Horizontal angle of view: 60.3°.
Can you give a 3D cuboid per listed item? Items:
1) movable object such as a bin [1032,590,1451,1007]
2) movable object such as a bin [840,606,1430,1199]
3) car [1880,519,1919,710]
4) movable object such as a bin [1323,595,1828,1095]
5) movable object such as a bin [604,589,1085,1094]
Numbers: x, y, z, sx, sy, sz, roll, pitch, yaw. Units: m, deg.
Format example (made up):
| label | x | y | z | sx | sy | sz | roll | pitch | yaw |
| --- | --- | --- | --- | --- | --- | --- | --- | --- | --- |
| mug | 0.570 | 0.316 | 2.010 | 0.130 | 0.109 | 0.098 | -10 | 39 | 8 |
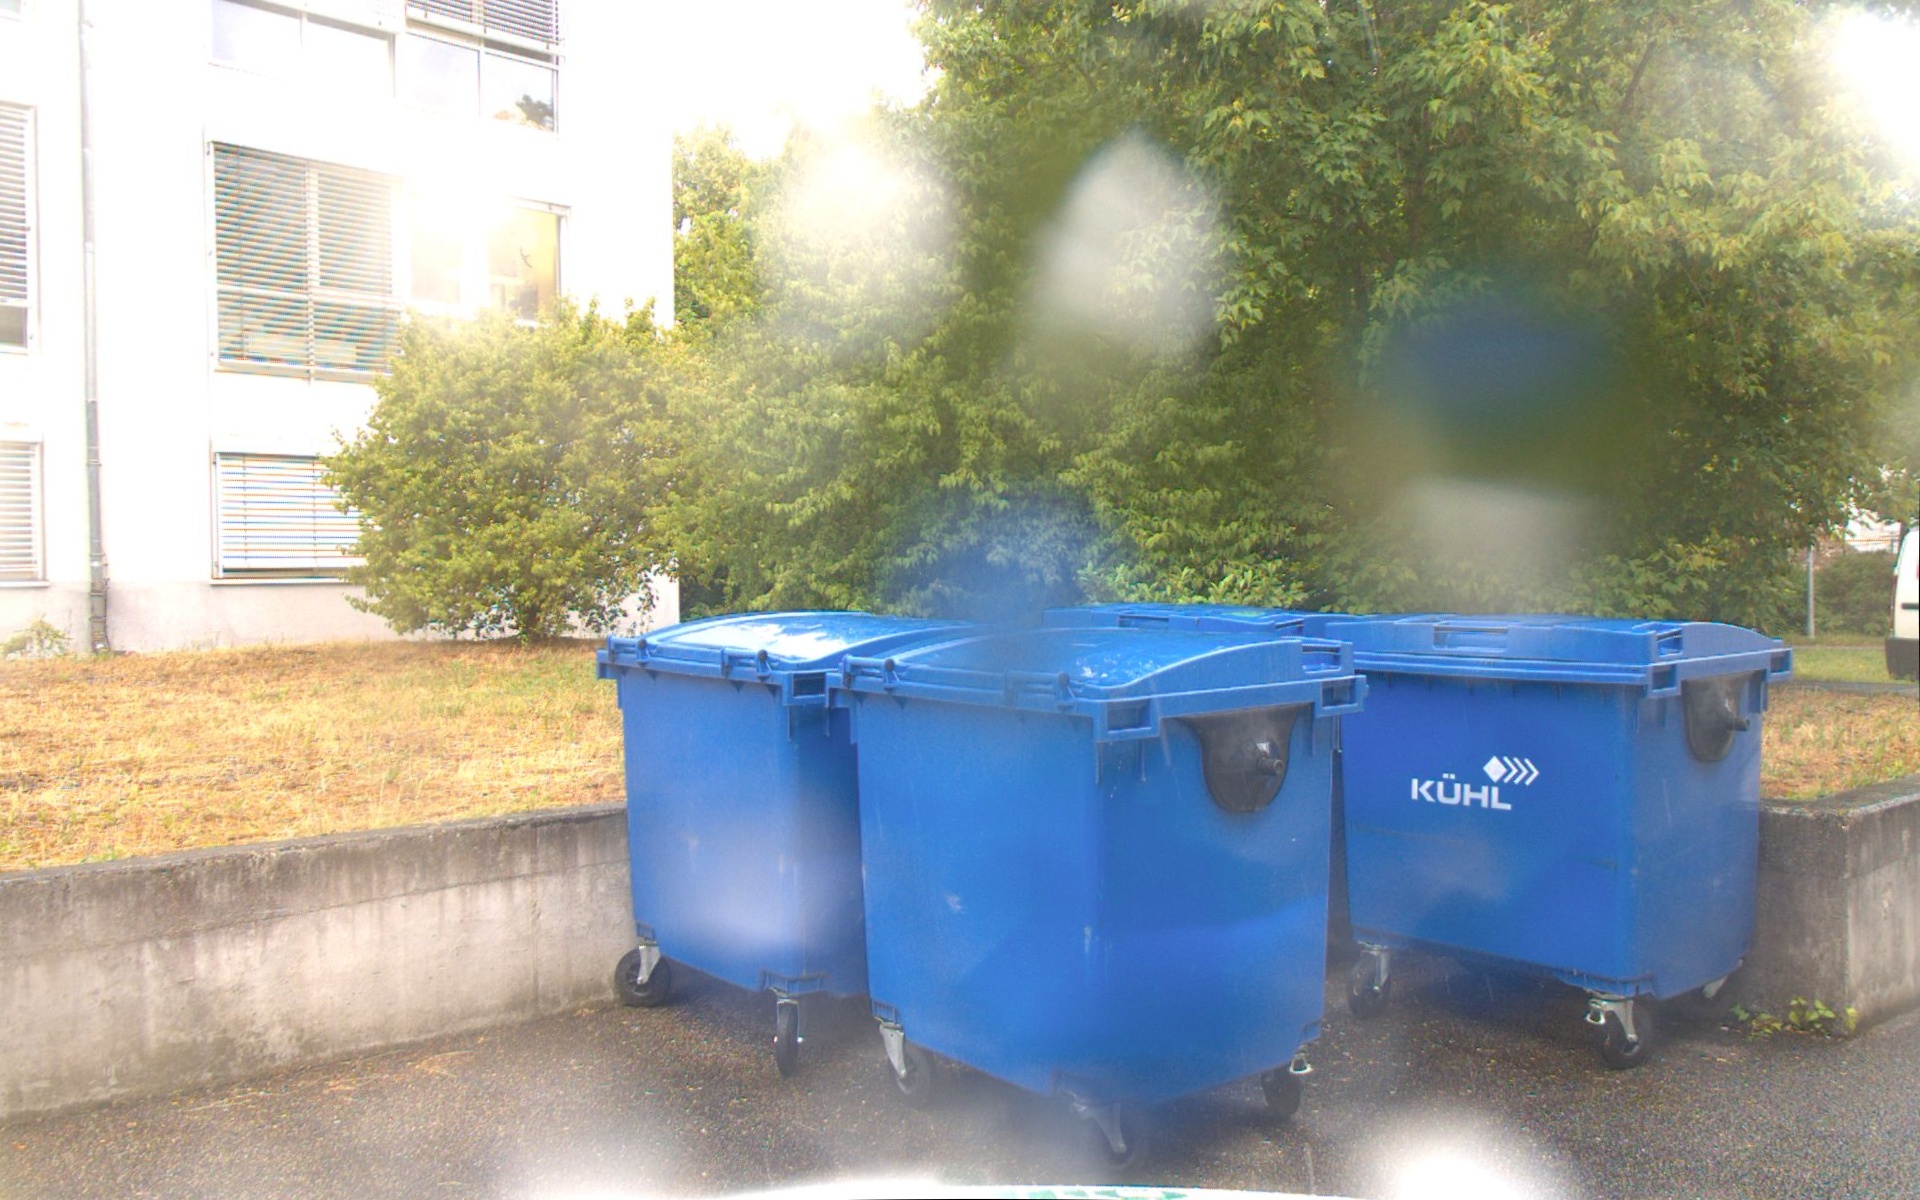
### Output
| label | x | y | z | sx | sy | sz | roll | pitch | yaw |
| --- | --- | --- | --- | --- | --- | --- | --- | --- | --- |
| movable object such as a bin | 1.059 | 0.660 | 6.315 | 0.997 | 1.360 | 1.208 | -3 | 2 | -40 |
| movable object such as a bin | 0.453 | 0.710 | 4.529 | 1.104 | 1.360 | 1.191 | -1 | 1 | -36 |
| car | 12.301 | 0.102 | 16.836 | 1.981 | 2.049 | 4.728 | -2 | 1 | -39 |
| movable object such as a bin | 1.982 | 0.679 | 5.380 | 0.997 | 1.360 | 1.208 | -2 | 1 | -40 |
| movable object such as a bin | -0.396 | 0.685 | 5.524 | 1.106 | 1.360 | 1.189 | -4 | 4 | -40 |
